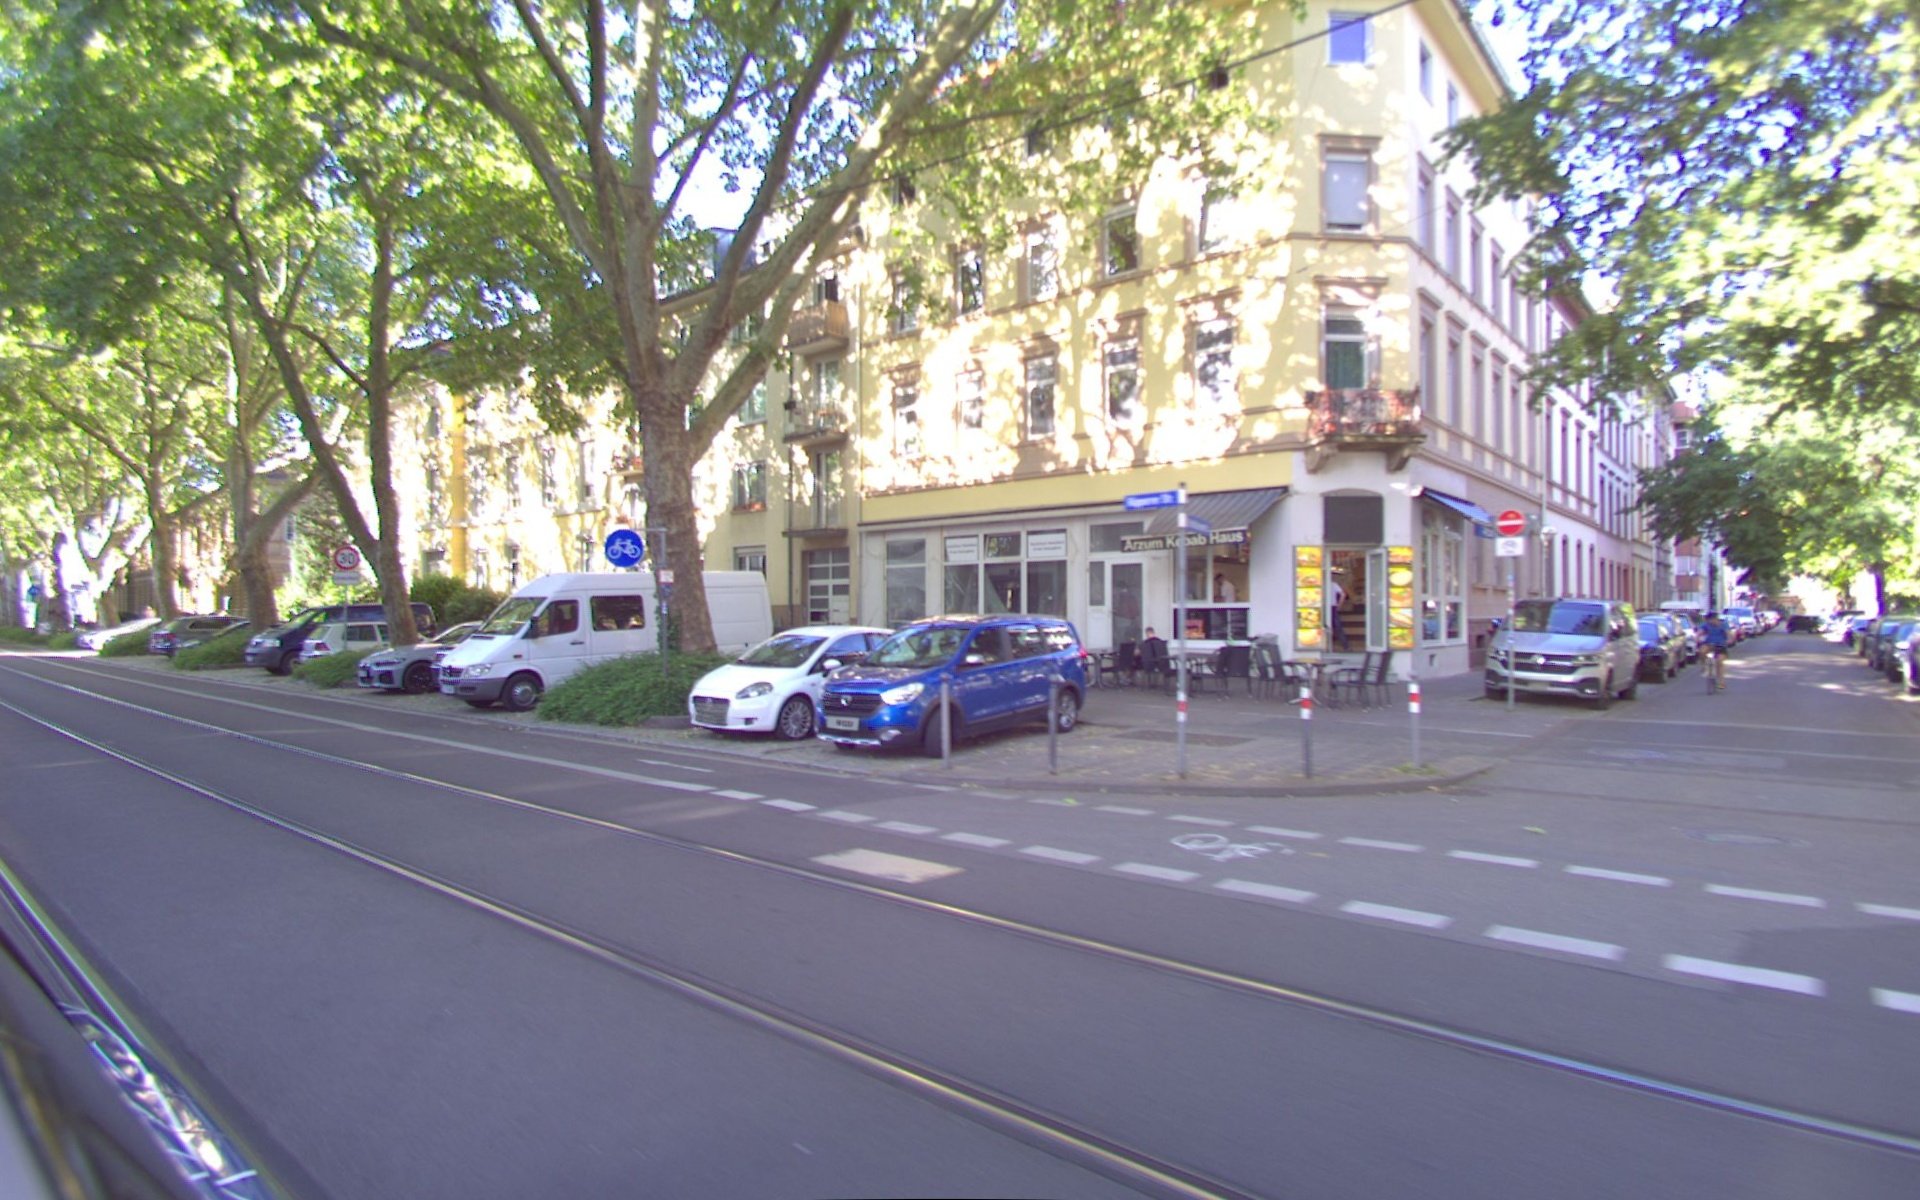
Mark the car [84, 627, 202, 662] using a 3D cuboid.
[{"bbox_3d":[-37.141,1.999,46.082,1.599,1.442,3.950,-1,-1,37],"label":"car"}]

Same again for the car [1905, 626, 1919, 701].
[{"bbox_3d":[20.716,1.276,20.799,1.756,1.475,3.352,-1,-2,41],"label":"car"}]

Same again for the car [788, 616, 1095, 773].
[{"bbox_3d":[-0.075,1.082,13.358,1.814,1.725,4.279,-1,-2,37],"label":"car"}]

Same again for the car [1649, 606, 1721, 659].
[{"bbox_3d":[26.098,1.143,36.374,1.756,1.802,3.352,-1,-2,41],"label":"car"}]

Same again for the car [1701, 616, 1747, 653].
[{"bbox_3d":[37.240,1.660,49.335,1.542,1.707,3.117,-1,-2,41],"label":"car"}]

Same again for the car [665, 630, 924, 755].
[{"bbox_3d":[-2.265,1.220,14.757,1.742,1.529,3.741,-1,-2,31],"label":"car"}]

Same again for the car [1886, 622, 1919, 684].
[{"bbox_3d":[23.675,1.243,24.505,1.756,1.421,3.860,-1,-2,41],"label":"car"}]

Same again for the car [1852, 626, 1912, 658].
[{"bbox_3d":[38.342,1.714,42.143,1.605,1.258,3.273,-1,-2,39],"label":"car"}]

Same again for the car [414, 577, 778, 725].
[{"bbox_3d":[-6.792,0.799,19.799,1.999,2.426,6.534,-2,0,41],"label":"car"}]

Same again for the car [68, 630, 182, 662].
[{"bbox_3d":[-39.447,2.157,47.908,1.410,1.385,3.950,-1,-1,37],"label":"car"}]

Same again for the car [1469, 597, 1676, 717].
[{"bbox_3d":[11.400,0.950,18.705,4.518,1.894,2.131,1,1,-43],"label":"car"}]

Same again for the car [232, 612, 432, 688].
[{"bbox_3d":[-18.199,1.391,29.514,1.920,1.922,4.581,-2,0,39],"label":"car"}]

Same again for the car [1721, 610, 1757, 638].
[{"bbox_3d":[50.413,1.546,65.468,1.753,1.712,3.354,-1,-2,38],"label":"car"}]

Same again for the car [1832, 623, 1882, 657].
[{"bbox_3d":[43.041,1.913,48.607,1.605,1.564,3.273,-2,-2,39],"label":"car"}]

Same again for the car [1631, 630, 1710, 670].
[{"bbox_3d":[23.175,1.590,32.970,1.756,1.186,3.352,-1,-2,41],"label":"car"}]

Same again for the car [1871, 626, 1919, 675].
[{"bbox_3d":[27.254,1.397,28.894,1.756,1.314,3.860,-1,-2,41],"label":"car"}]

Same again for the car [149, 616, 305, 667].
[{"bbox_3d":[-26.966,1.483,37.315,1.999,1.625,4.310,-2,0,41],"label":"car"}]

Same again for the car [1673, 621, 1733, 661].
[{"bbox_3d":[29.694,1.607,40.402,1.616,1.505,3.559,-1,-2,41],"label":"car"}]

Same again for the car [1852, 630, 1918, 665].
[{"bbox_3d":[34.956,1.779,38.292,1.605,1.240,3.273,-1,-2,39],"label":"car"}]

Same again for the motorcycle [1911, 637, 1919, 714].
[{"bbox_3d":[16.862,1.261,16.539,0.581,1.271,1.877,1,-2,-44],"label":"motorcycle"}]

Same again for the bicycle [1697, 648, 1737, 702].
[{"bbox_3d":[15.773,1.534,21.066,0.627,1.039,1.853,-1,-2,38],"label":"bicycle"}]

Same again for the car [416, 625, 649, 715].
[{"bbox_3d":[-8.858,1.372,21.234,1.903,1.509,4.104,-1,1,39],"label":"car"}]

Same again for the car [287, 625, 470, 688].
[{"bbox_3d":[-16.071,1.511,28.097,1.868,1.456,4.016,-2,0,41],"label":"car"}]

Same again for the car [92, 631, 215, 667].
[{"bbox_3d":[-35.173,2.098,44.230,1.526,1.442,3.950,-1,-1,37],"label":"car"}]

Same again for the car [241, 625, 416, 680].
[{"bbox_3d":[-19.542,1.583,31.472,1.657,1.418,4.310,-2,0,41],"label":"car"}]

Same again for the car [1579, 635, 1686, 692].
[{"bbox_3d":[16.609,1.508,24.939,1.756,1.186,3.352,2,0,41],"label":"car"}]

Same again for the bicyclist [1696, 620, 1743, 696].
[{"bbox_3d":[15.869,1.187,21.152,0.735,1.538,0.858,-2,-2,38],"label":"bicyclist"}]

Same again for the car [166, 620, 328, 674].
[{"bbox_3d":[-25.125,1.603,35.758,1.999,1.625,4.310,-2,0,41],"label":"car"}]

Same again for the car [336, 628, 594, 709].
[{"bbox_3d":[-11.136,1.461,23.071,1.999,1.456,4.880,-2,0,41],"label":"car"}]

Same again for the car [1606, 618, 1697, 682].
[{"bbox_3d":[19.728,1.364,28.840,1.756,1.706,3.131,-1,-2,41],"label":"car"}]

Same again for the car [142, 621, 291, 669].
[{"bbox_3d":[-28.709,1.701,39.171,1.999,1.625,4.310,-2,0,41],"label":"car"}]
